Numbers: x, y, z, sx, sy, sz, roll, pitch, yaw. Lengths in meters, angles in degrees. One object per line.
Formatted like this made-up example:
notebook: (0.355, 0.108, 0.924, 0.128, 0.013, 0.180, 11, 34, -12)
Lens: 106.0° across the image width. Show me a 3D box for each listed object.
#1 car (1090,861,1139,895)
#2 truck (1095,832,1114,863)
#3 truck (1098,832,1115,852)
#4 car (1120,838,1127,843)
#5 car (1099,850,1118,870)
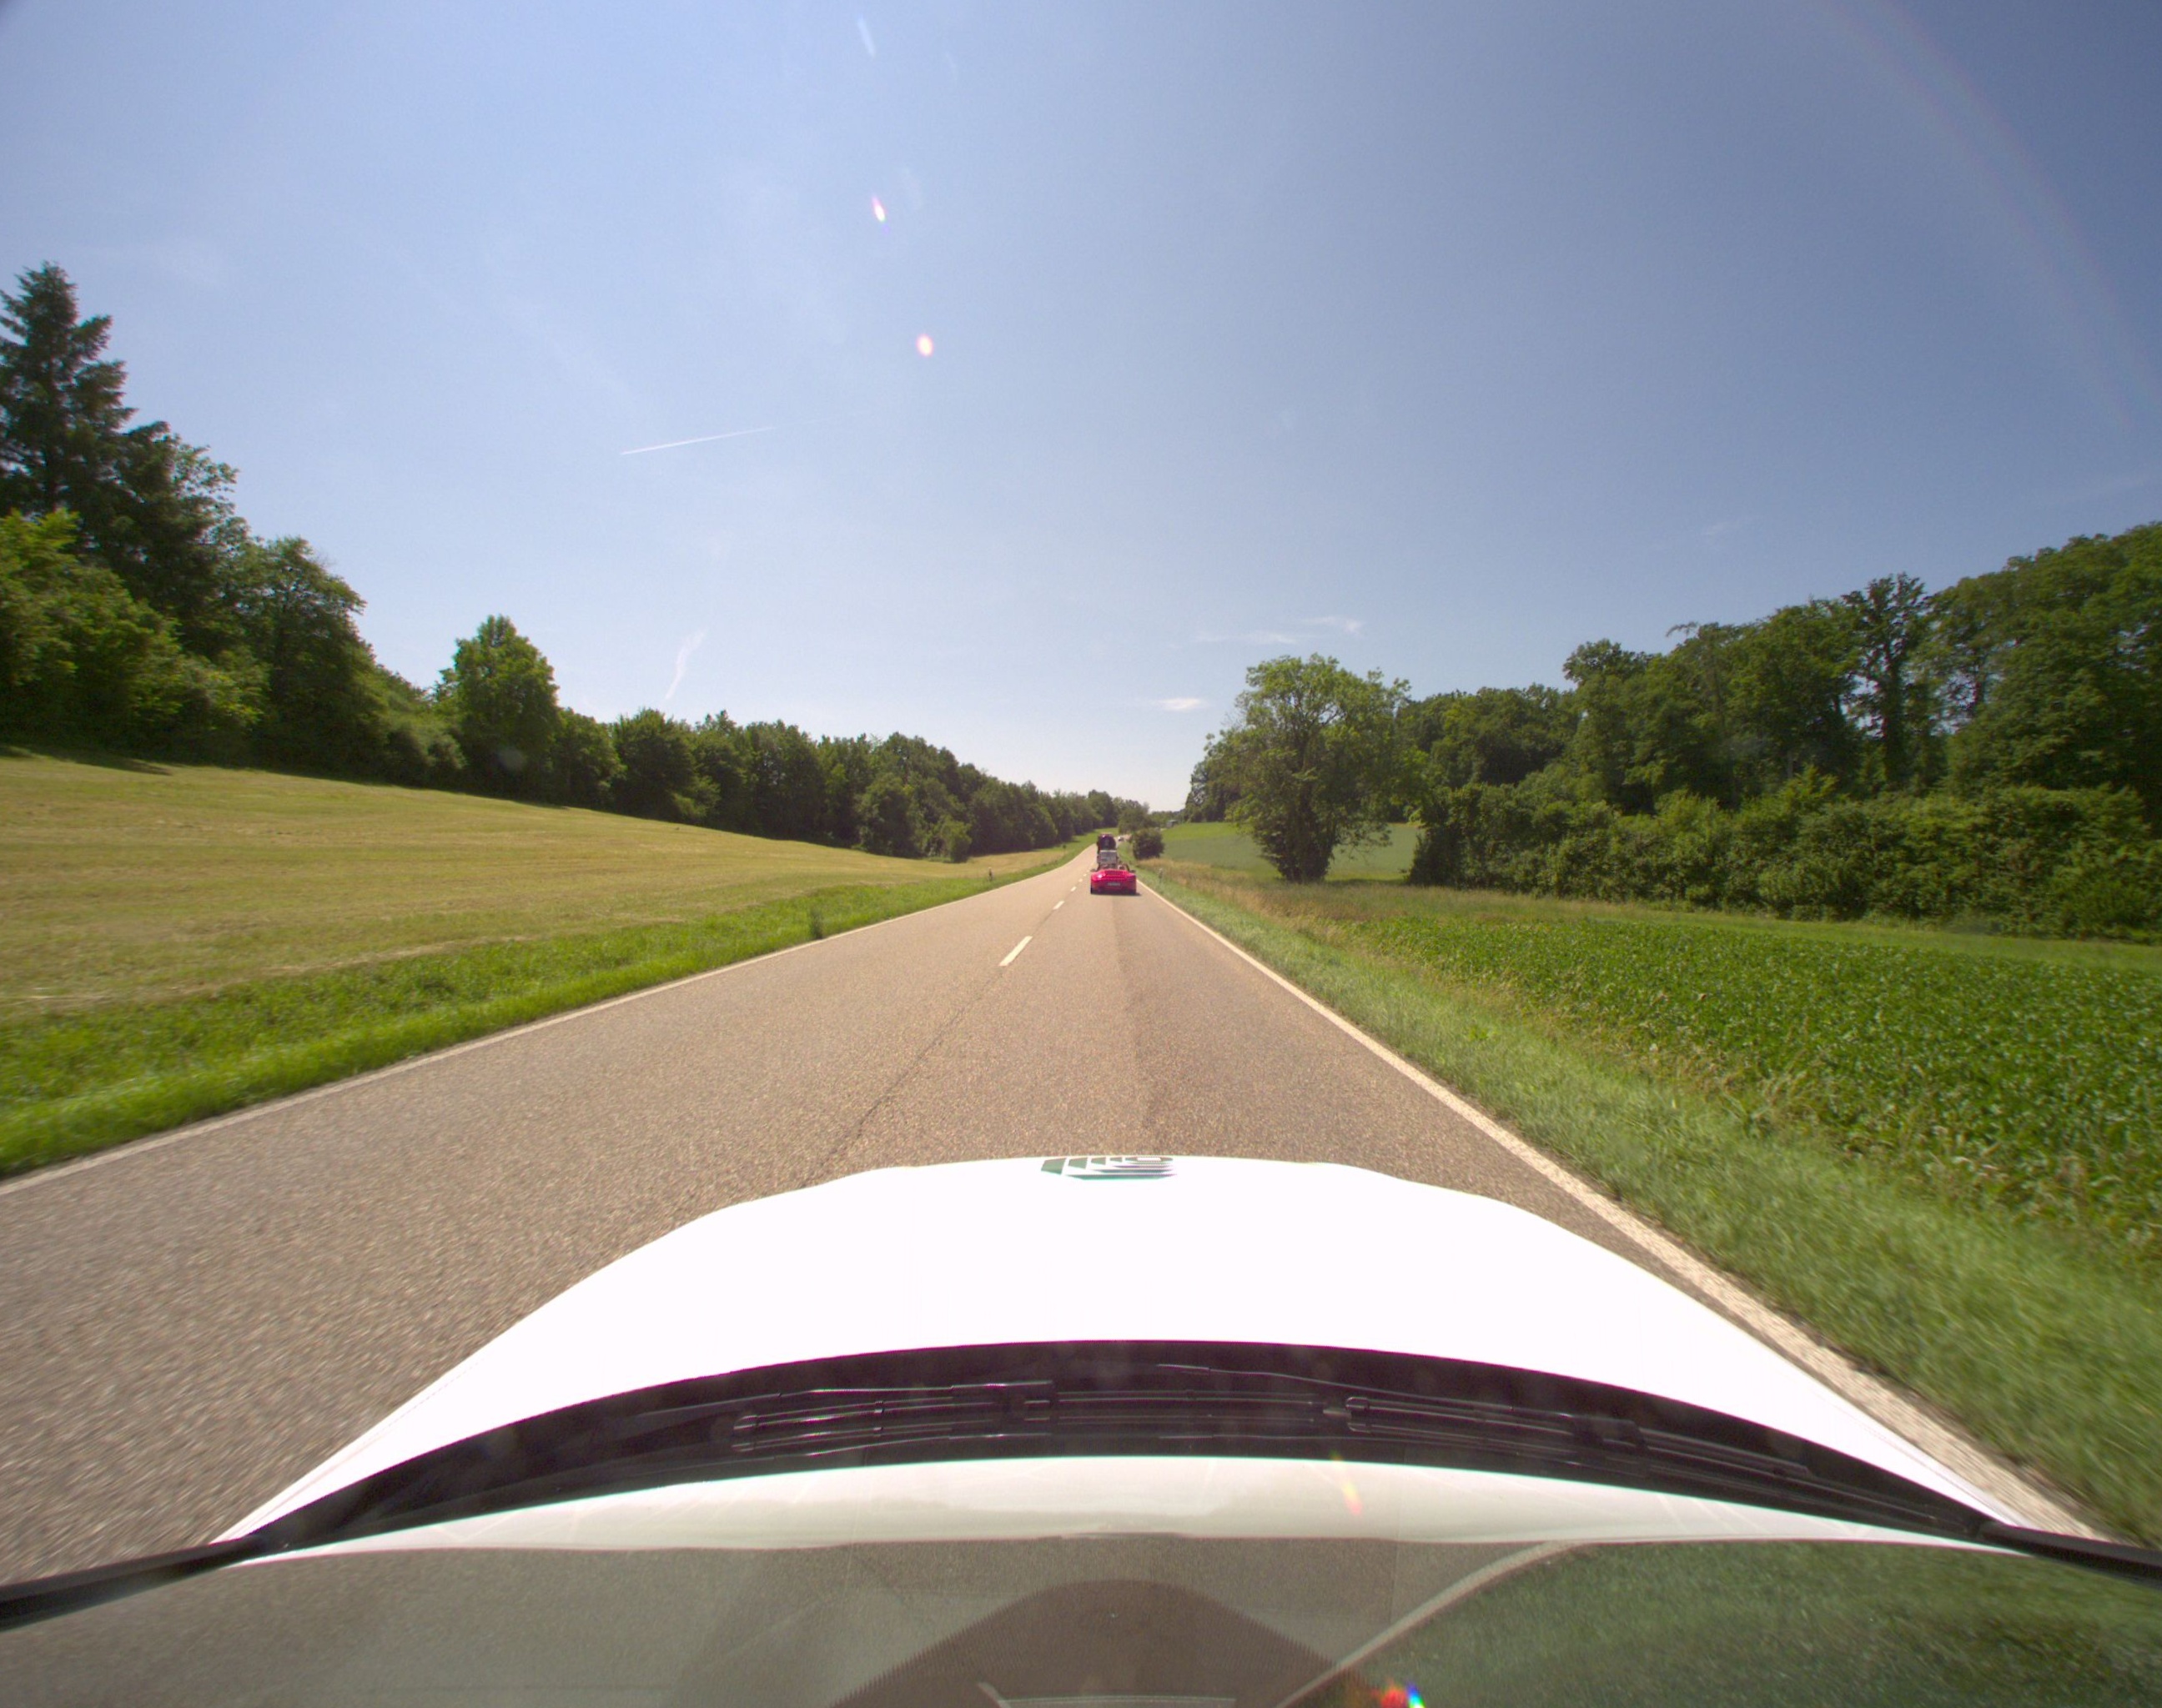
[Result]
car: (1.367, 0.952, 33.937, 1.876, 1.255, 4.010, 1, 0, 1)
truck: (3.229, -1.040, 115.410, 2.395, 4.049, 12.553, -2, 2, 1)
truck: (6.184, -3.001, 199.619, 3.713, 4.660, 12.031, -2, 1, 0)
car: (12.807, -4.067, 247.059, 1.688, 1.496, 3.720, -2, 2, 8)
car: (2.705, 0.567, 79.241, 1.672, 1.900, 4.012, -2, 0, 2)
